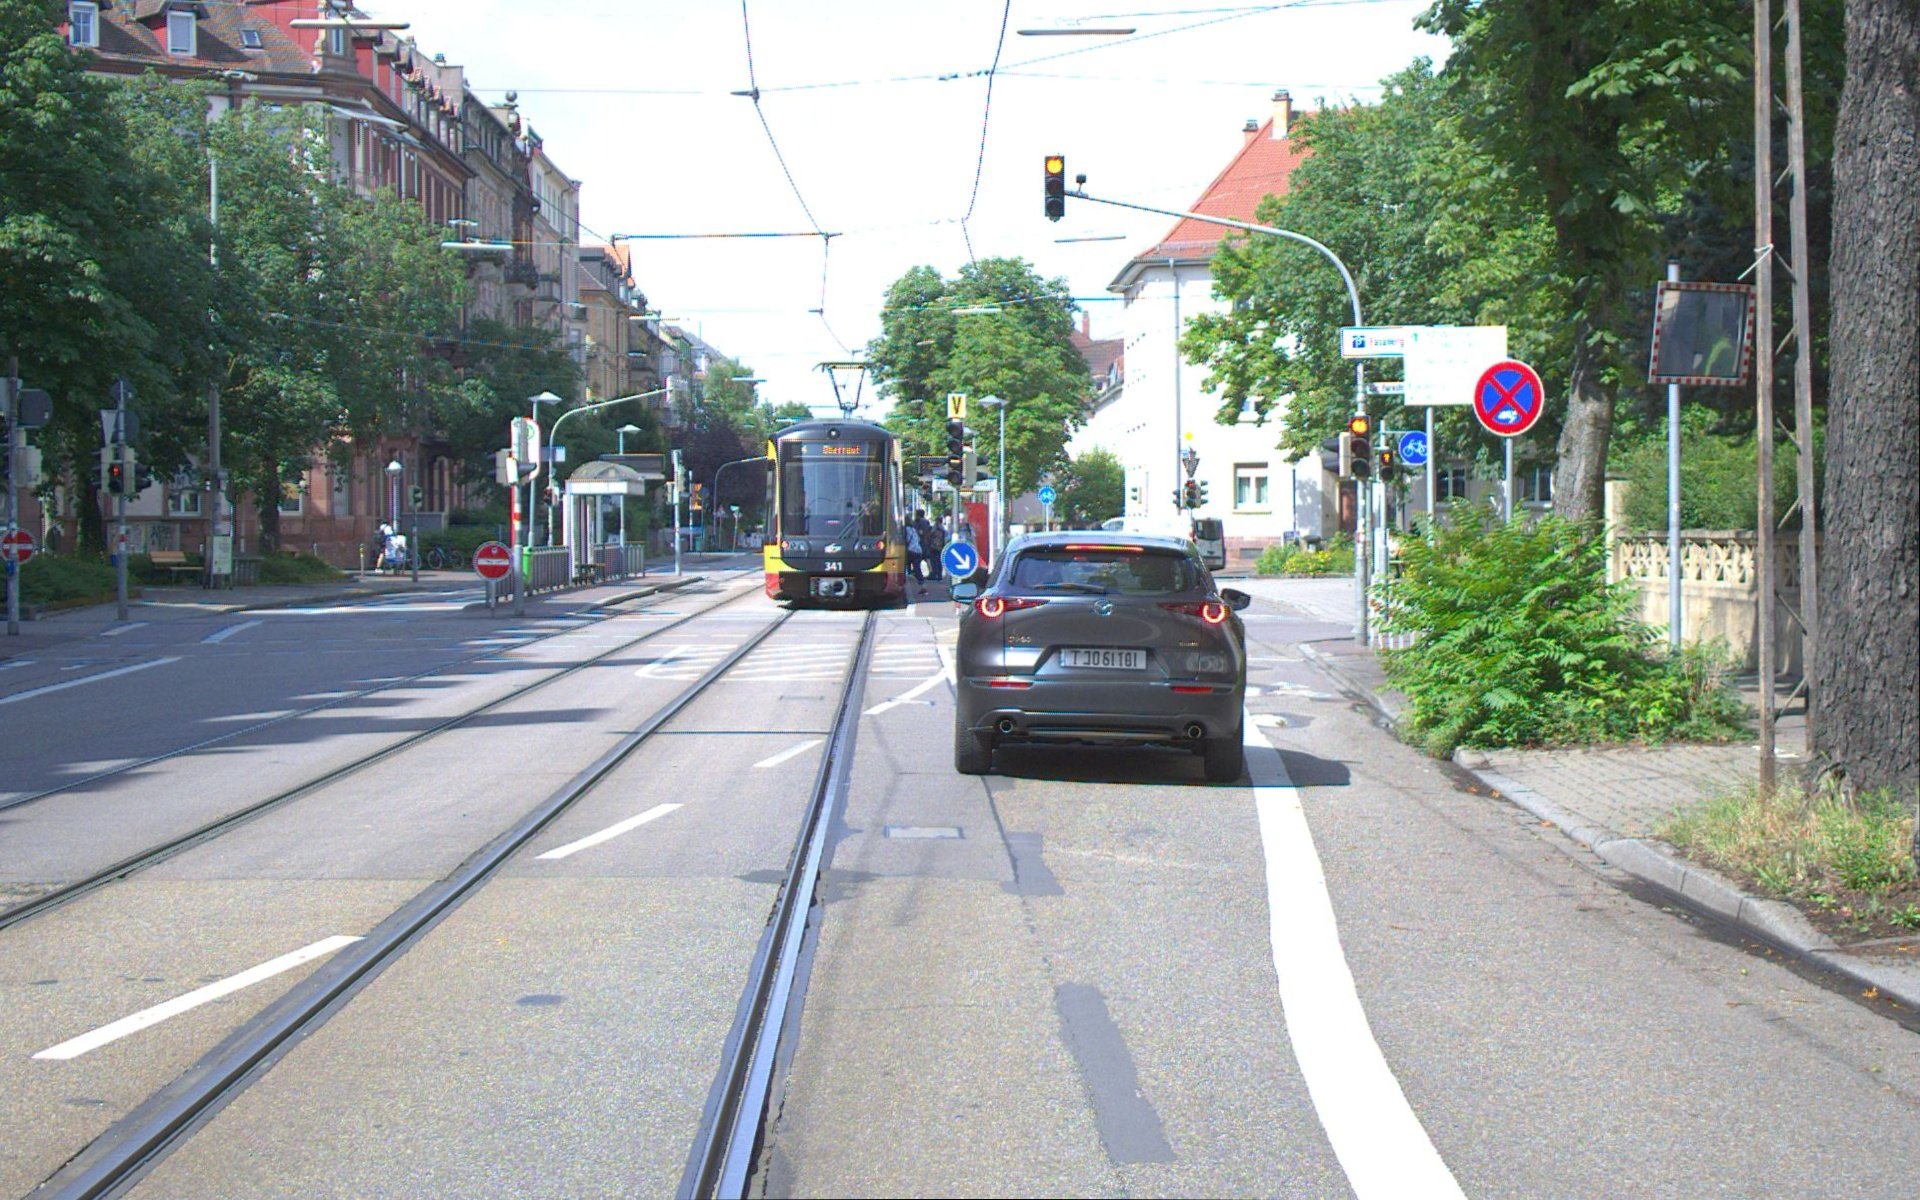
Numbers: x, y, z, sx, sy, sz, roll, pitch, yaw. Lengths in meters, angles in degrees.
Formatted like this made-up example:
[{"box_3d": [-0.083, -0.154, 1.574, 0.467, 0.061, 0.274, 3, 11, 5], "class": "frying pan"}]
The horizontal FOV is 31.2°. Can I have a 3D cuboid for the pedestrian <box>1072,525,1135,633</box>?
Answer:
[{"box_3d": [2.143, -0.316, 51.376, 0.874, 1.599, 0.632, 0, 1, -5], "class": "pedestrian"}]

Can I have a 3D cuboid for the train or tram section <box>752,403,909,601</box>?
[{"box_3d": [-2.575, -1.825, 65.994, 2.651, 3.515, 8.498, -1, 1, -4], "class": "train or tram section"}]

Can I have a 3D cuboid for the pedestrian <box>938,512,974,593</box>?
[{"box_3d": [-0.079, -0.945, 68.257, 0.667, 1.599, 0.700, 0, 1, -3], "class": "pedestrian"}]

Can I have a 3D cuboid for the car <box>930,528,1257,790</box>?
[{"box_3d": [0.776, 0.308, 22.646, 1.789, 1.507, 4.351, 1, 1, -2], "class": "car"}]

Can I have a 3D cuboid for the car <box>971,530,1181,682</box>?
[{"box_3d": [1.178, 0.014, 37.070, 1.784, 1.487, 4.884, 0, 2, -4], "class": "car"}]

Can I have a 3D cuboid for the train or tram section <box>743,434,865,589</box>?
[{"box_3d": [-3.831, -2.088, 82.970, 2.651, 3.515, 8.498, -1, 1, -4], "class": "train or tram section"}]

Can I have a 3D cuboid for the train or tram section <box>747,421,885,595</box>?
[{"box_3d": [-3.203, -1.956, 74.479, 2.651, 3.515, 8.498, -1, 1, -4], "class": "train or tram section"}]
